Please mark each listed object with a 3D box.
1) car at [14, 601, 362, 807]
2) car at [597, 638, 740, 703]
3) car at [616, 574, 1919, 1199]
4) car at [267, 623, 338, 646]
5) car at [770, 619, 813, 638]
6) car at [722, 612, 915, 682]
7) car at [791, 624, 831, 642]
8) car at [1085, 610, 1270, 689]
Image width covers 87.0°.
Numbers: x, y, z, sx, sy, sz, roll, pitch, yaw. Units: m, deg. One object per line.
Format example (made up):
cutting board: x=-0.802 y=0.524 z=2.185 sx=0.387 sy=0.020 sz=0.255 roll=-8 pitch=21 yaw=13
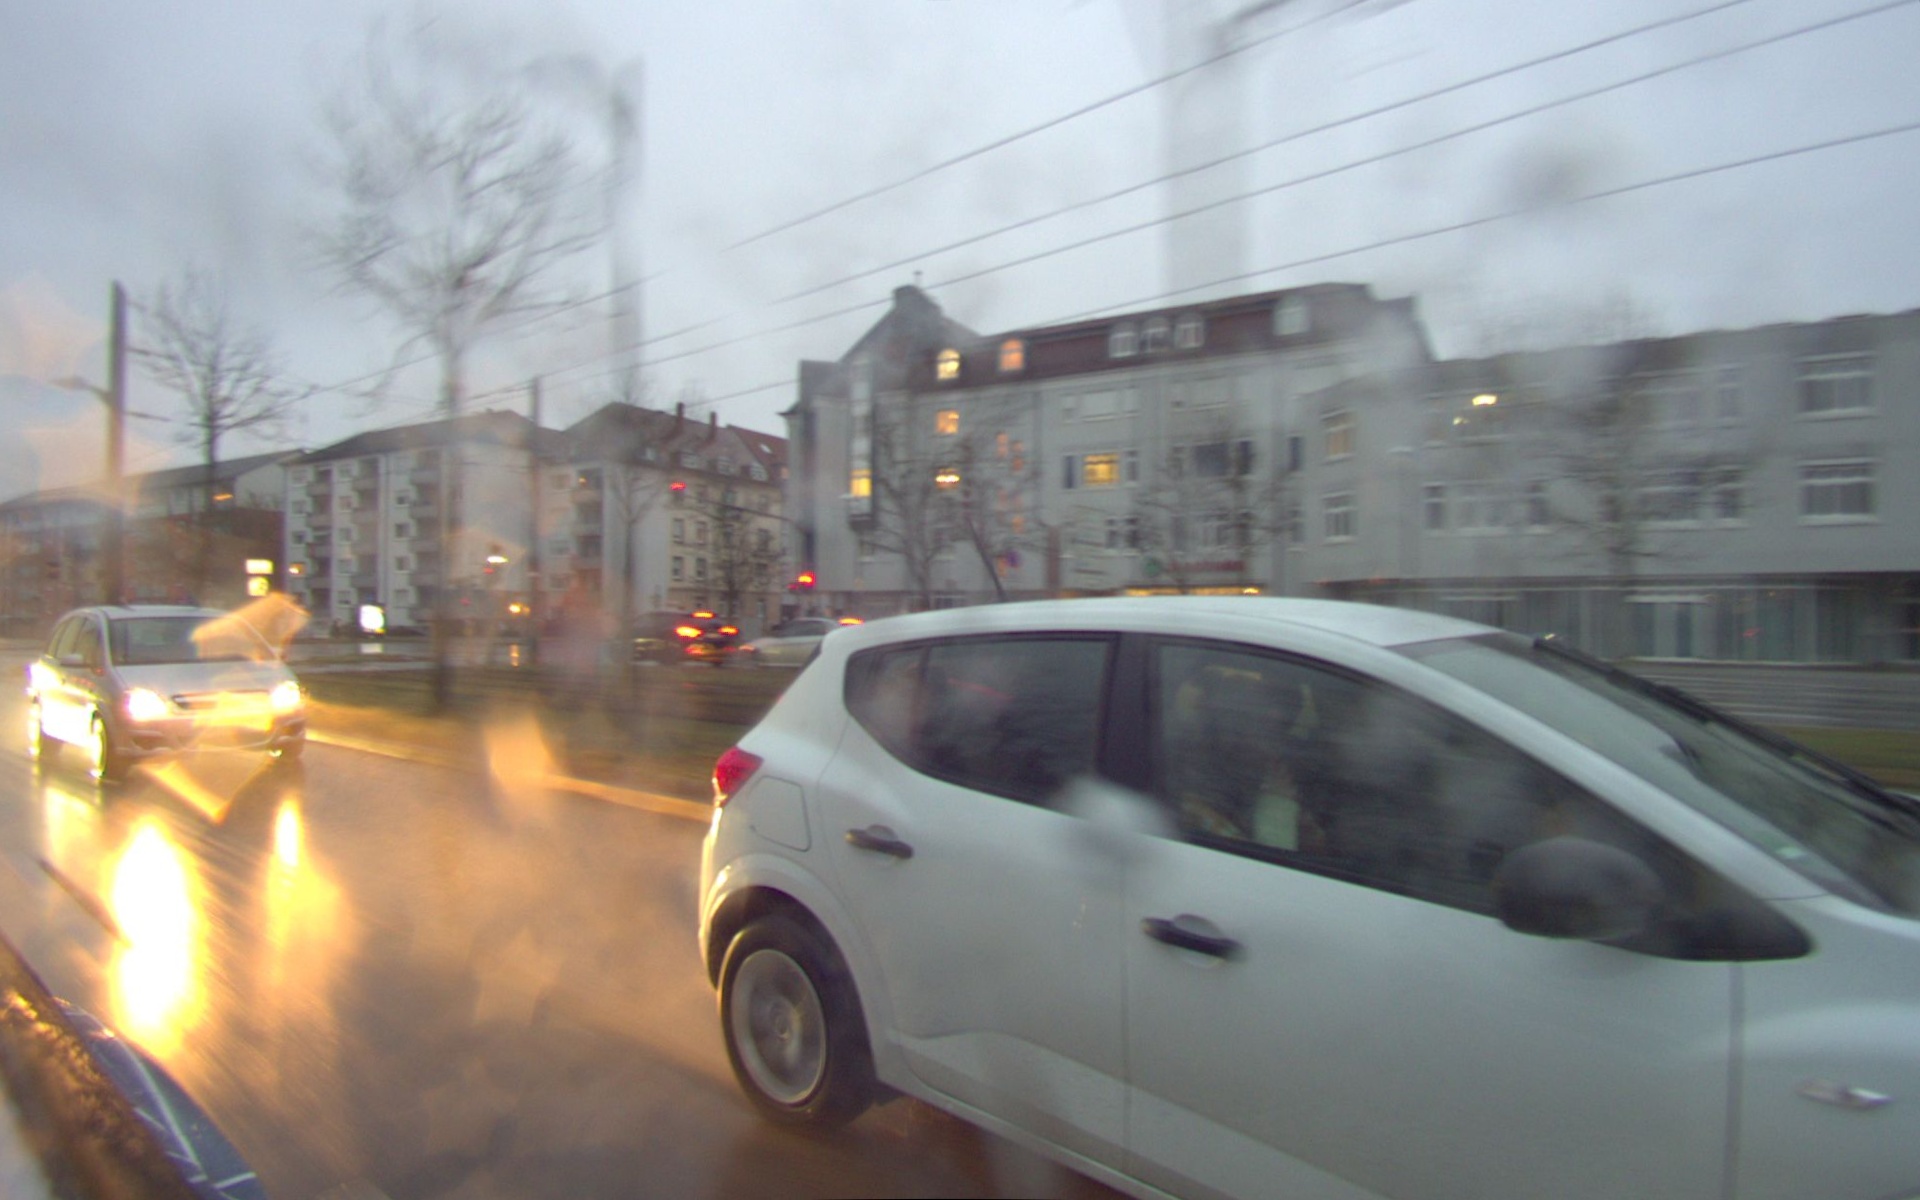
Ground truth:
car: x=-8.168 y=0.885 z=10.610 sx=3.995 sy=1.689 sz=1.997 roll=1 pitch=1 yaw=38
car: x=-8.606 y=2.020 z=29.813 sx=3.982 sy=1.618 sz=1.793 roll=1 pitch=1 yaw=29
car: x=0.932 y=0.693 z=2.588 sx=3.999 sy=1.477 sz=1.690 roll=1 pitch=1 yaw=42
car: x=-44.940 y=2.332 z=69.247 sx=1.689 sy=1.377 sz=3.778 roll=0 pitch=1 yaw=25
car: x=-15.051 y=2.509 z=90.314 sx=3.602 sy=1.533 sz=1.664 roll=1 pitch=1 yaw=30
car: x=-3.637 y=1.126 z=25.648 sx=4.913 sy=1.540 sz=1.577 roll=1 pitch=1 yaw=29
car: x=-12.359 y=2.700 z=84.021 sx=1.485 sy=1.371 sz=3.400 roll=1 pitch=1 yaw=33
car: x=5.200 y=1.158 z=24.404 sx=3.995 sy=1.741 sz=1.790 roll=-2 pitch=-2 yaw=39
